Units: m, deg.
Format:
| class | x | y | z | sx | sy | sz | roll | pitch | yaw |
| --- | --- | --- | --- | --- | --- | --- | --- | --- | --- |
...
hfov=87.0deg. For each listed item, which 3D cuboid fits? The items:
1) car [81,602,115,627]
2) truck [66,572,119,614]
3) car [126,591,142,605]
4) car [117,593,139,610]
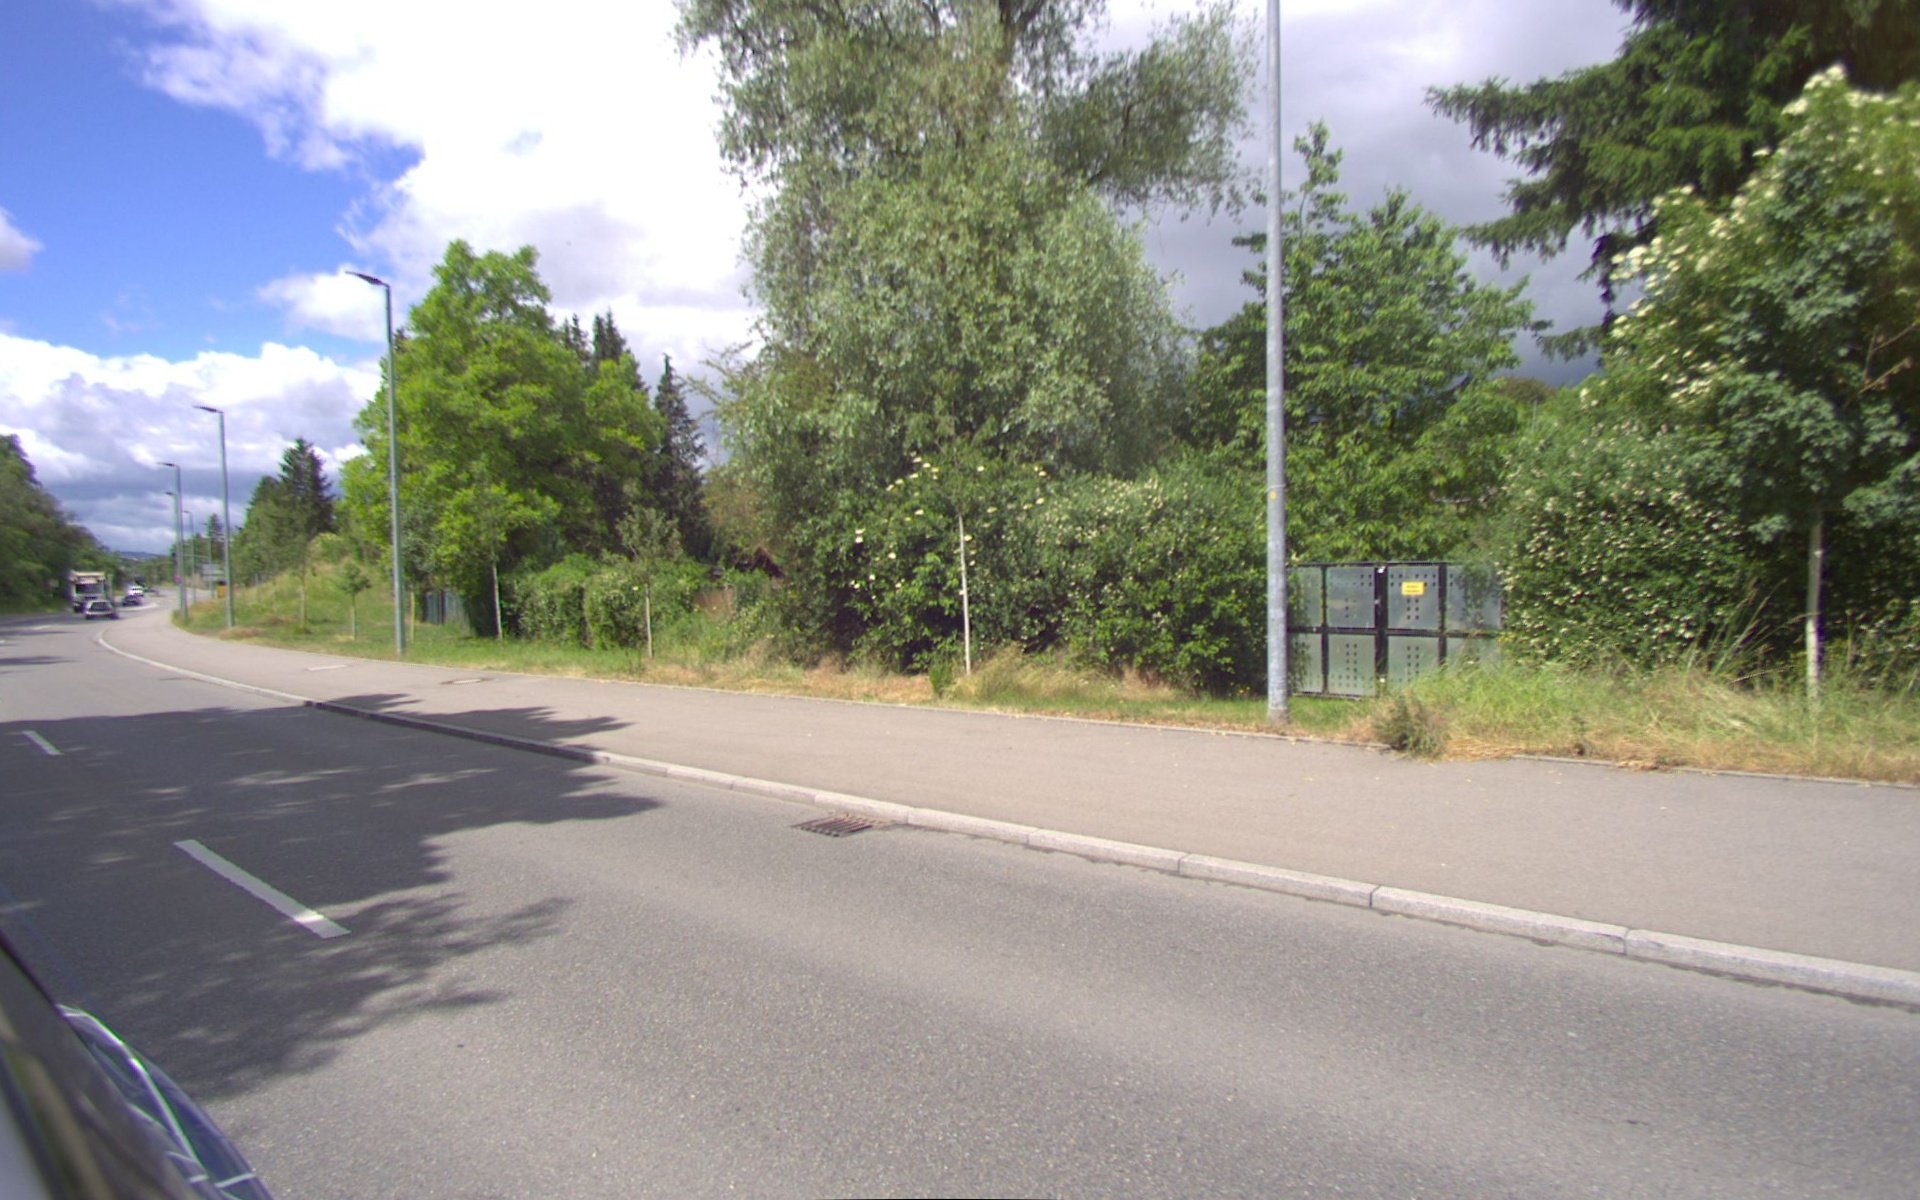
| class | x | y | z | sx | sy | sz | roll | pitch | yaw |
| --- | --- | --- | --- | --- | --- | --- | --- | --- | --- |
| car | -62.747 | 1.031 | 73.701 | 1.776 | 1.674 | 4.008 | -1 | 1 | -39 |
| truck | -84.058 | -0.707 | 98.195 | 3.190 | 3.889 | 9.896 | -1 | 1 | -36 |
| car | -138.047 | -0.303 | 169.191 | 1.968 | 2.241 | 4.008 | -1 | 0 | -39 |
| car | -105.716 | 0.183 | 128.602 | 1.968 | 2.029 | 4.008 | -1 | 1 | -38 |
